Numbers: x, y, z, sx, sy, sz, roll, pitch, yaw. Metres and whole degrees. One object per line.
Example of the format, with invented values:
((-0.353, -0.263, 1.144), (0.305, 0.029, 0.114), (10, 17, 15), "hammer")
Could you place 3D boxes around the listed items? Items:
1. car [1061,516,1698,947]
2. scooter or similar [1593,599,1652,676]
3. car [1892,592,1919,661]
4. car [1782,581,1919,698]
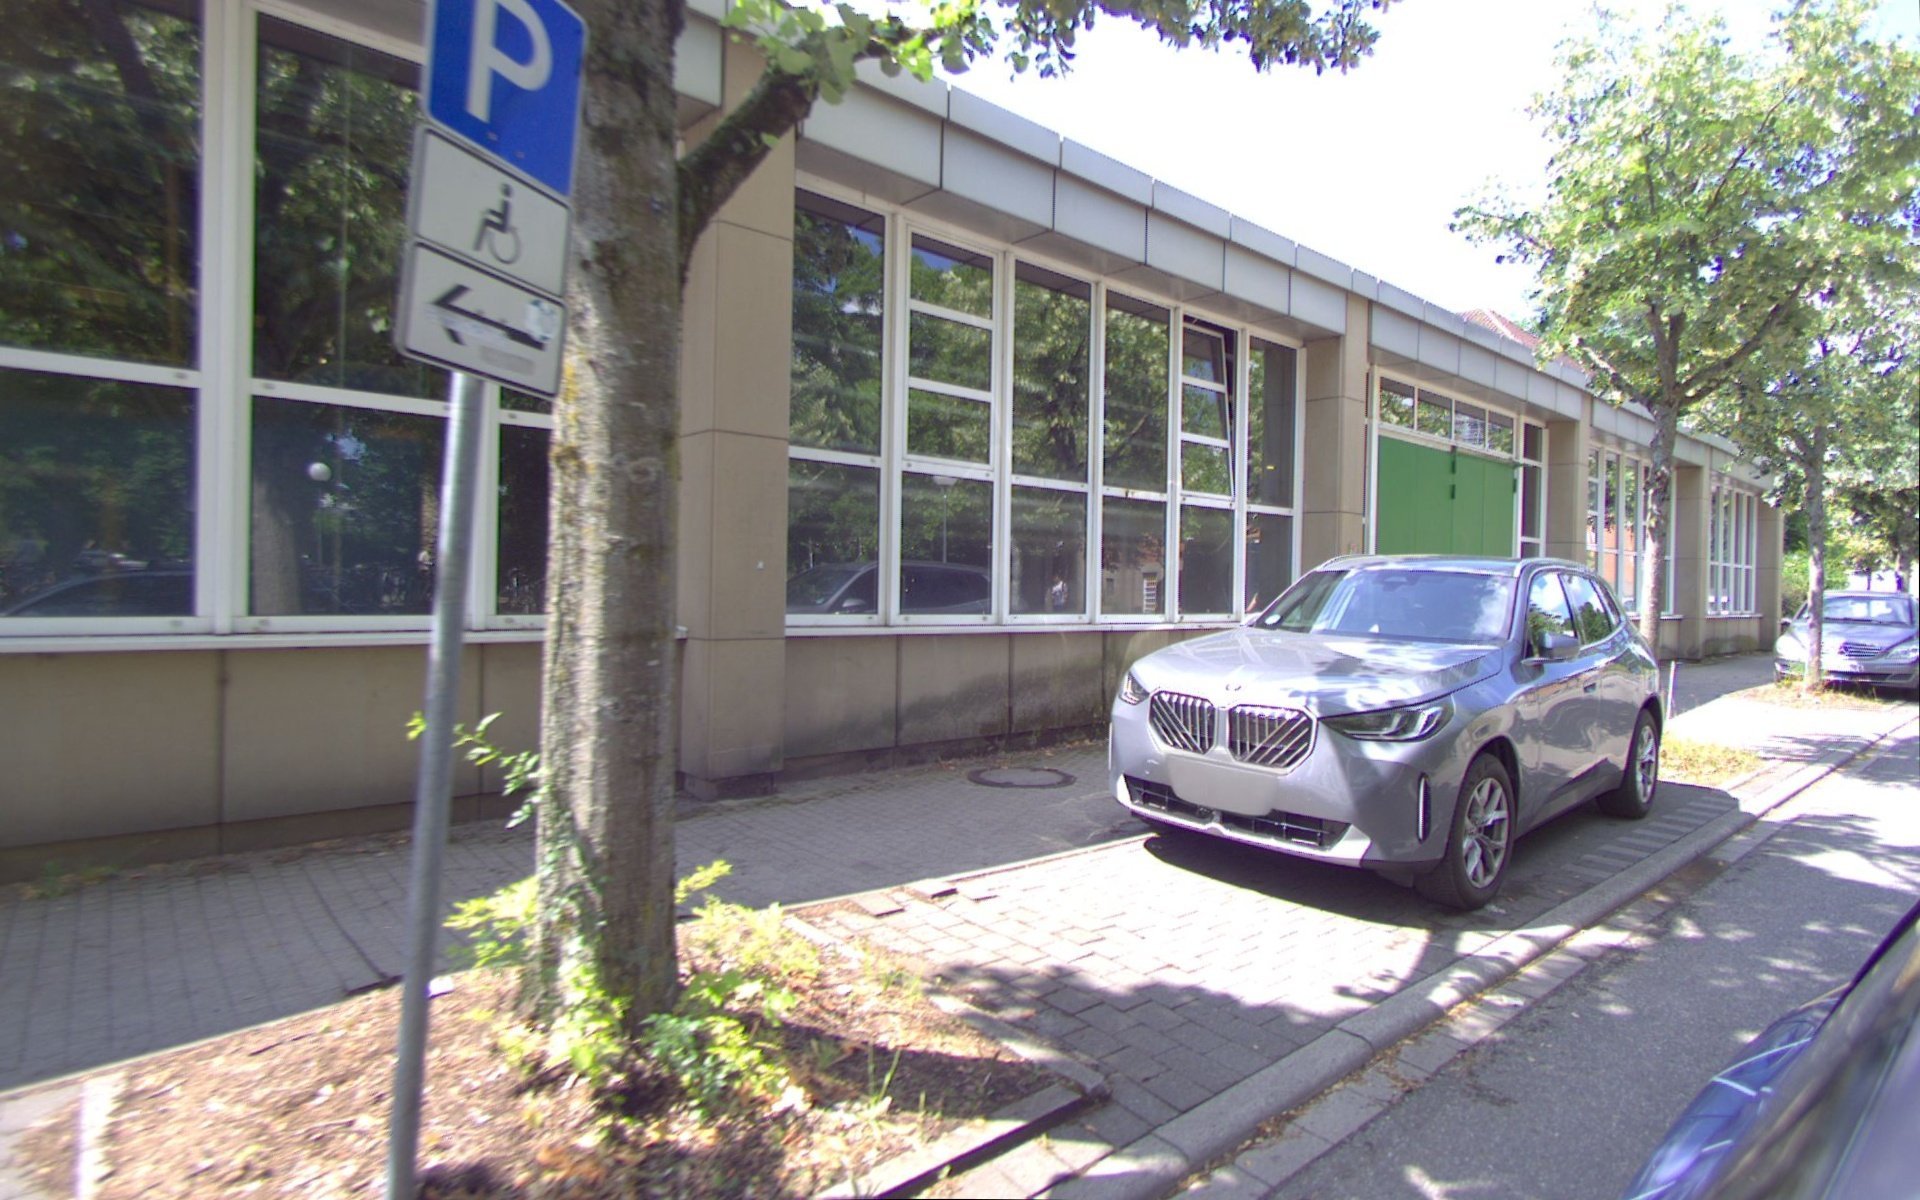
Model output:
((2.813, 0.477, 6.148), (4.506, 1.684, 1.825), (0, 2, -43), "car")
((11.259, 0.613, 17.192), (1.467, 1.232, 0.416), (0, 2, -41), "scooter or similar")
((22.884, 0.606, 23.266), (4.592, 1.485, 1.728), (0, 2, -43), "car")
((14.501, 0.544, 16.002), (4.070, 1.593, 1.707), (0, 2, -42), "car")
